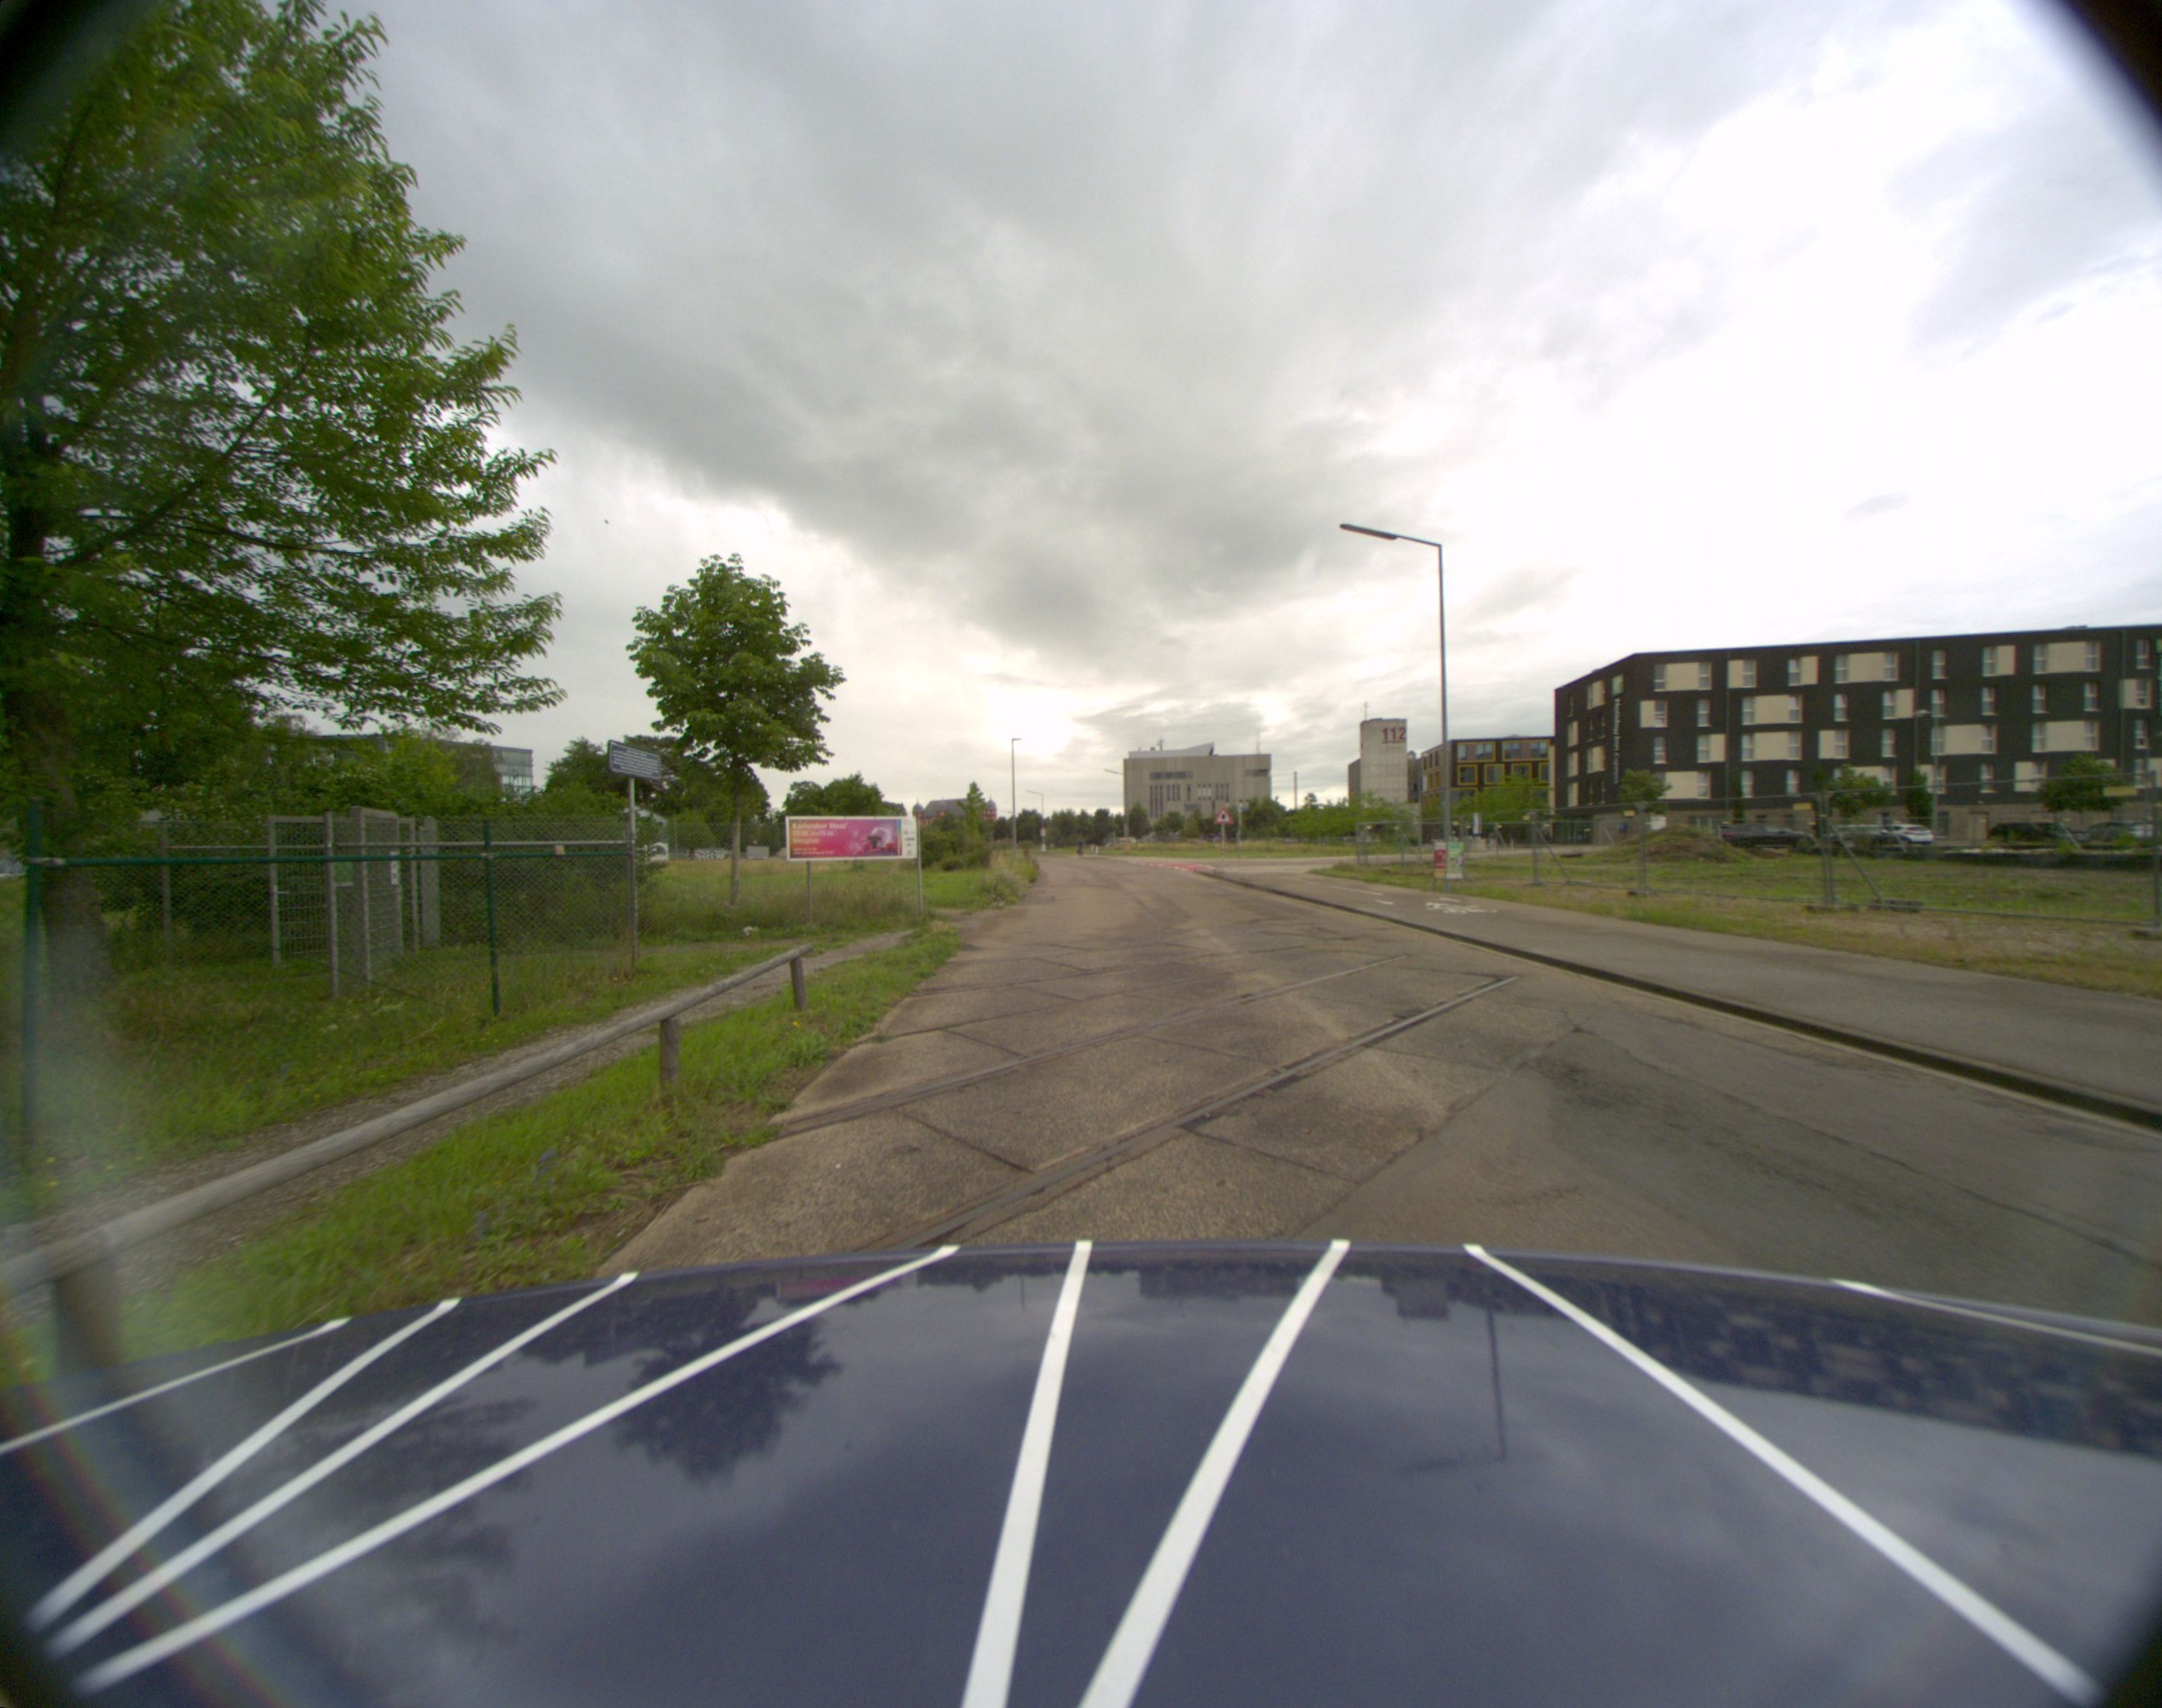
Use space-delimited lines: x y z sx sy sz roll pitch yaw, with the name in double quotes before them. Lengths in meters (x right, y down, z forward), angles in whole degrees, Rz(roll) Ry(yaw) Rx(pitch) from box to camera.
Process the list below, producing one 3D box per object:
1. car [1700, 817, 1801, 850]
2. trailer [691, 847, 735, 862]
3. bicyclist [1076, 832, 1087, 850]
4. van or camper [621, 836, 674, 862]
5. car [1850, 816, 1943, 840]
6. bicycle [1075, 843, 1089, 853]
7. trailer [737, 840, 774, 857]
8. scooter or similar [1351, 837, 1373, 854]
"car" 38.997 -1.173 44.352 3.993 1.812 2.001 -1 1 11
"trailer" -41.092 0.027 84.864 4.127 1.524 1.754 -2 1 -34
"bicyclist" 0.063 -1.426 83.006 0.865 2.002 1.176 -2 1 -15
"van or camper" -50.776 -0.614 89.078 5.187 2.816 2.410 -2 1 -30
"car" 55.504 -1.723 51.822 1.998 1.509 4.154 -1 1 3
"bicycle" 0.114 -0.696 82.928 0.887 1.046 2.465 -2 1 -15
"trailer" -40.854 -0.655 95.489 4.005 2.002 1.639 -2 1 -32
"scooter or similar" 21.062 -0.634 56.931 1.468 1.162 0.570 -3 2 -15
